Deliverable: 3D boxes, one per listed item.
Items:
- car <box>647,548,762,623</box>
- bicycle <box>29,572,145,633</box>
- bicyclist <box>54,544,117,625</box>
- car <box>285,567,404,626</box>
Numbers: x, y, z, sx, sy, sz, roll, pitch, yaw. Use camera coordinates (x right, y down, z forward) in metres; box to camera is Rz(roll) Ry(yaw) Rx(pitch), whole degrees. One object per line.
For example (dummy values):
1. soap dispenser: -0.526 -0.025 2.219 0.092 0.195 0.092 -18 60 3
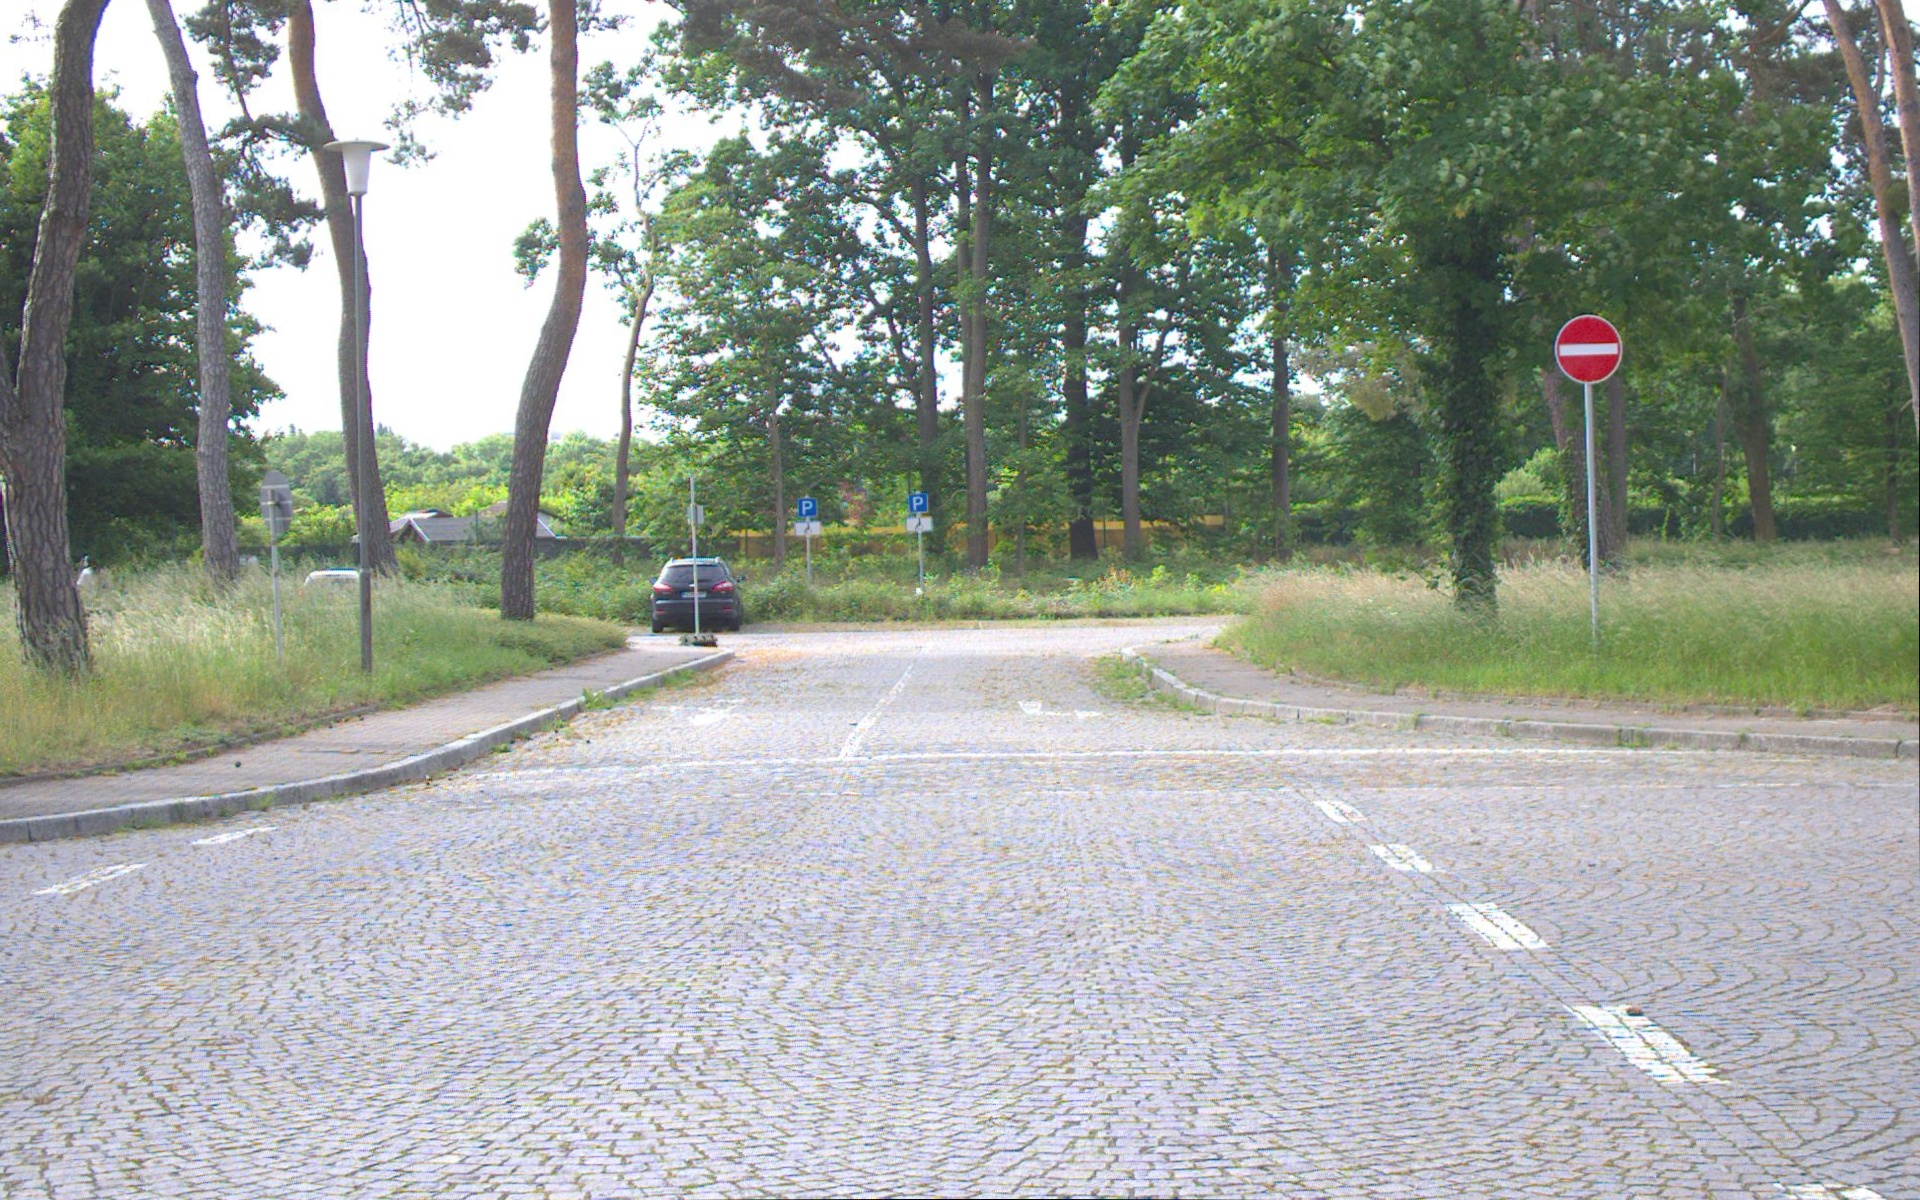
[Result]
1. car: -5.341 -0.325 72.235 1.993 1.503 4.000 1 1 2
2. bicycle: -16.493 0.036 64.980 1.986 1.091 0.810 -1 1 -3
3. bicyclist: -16.523 -0.294 64.981 0.974 1.505 0.807 -1 1 -2
4. car: -13.116 -0.089 73.457 1.689 1.152 4.000 -1 1 2
